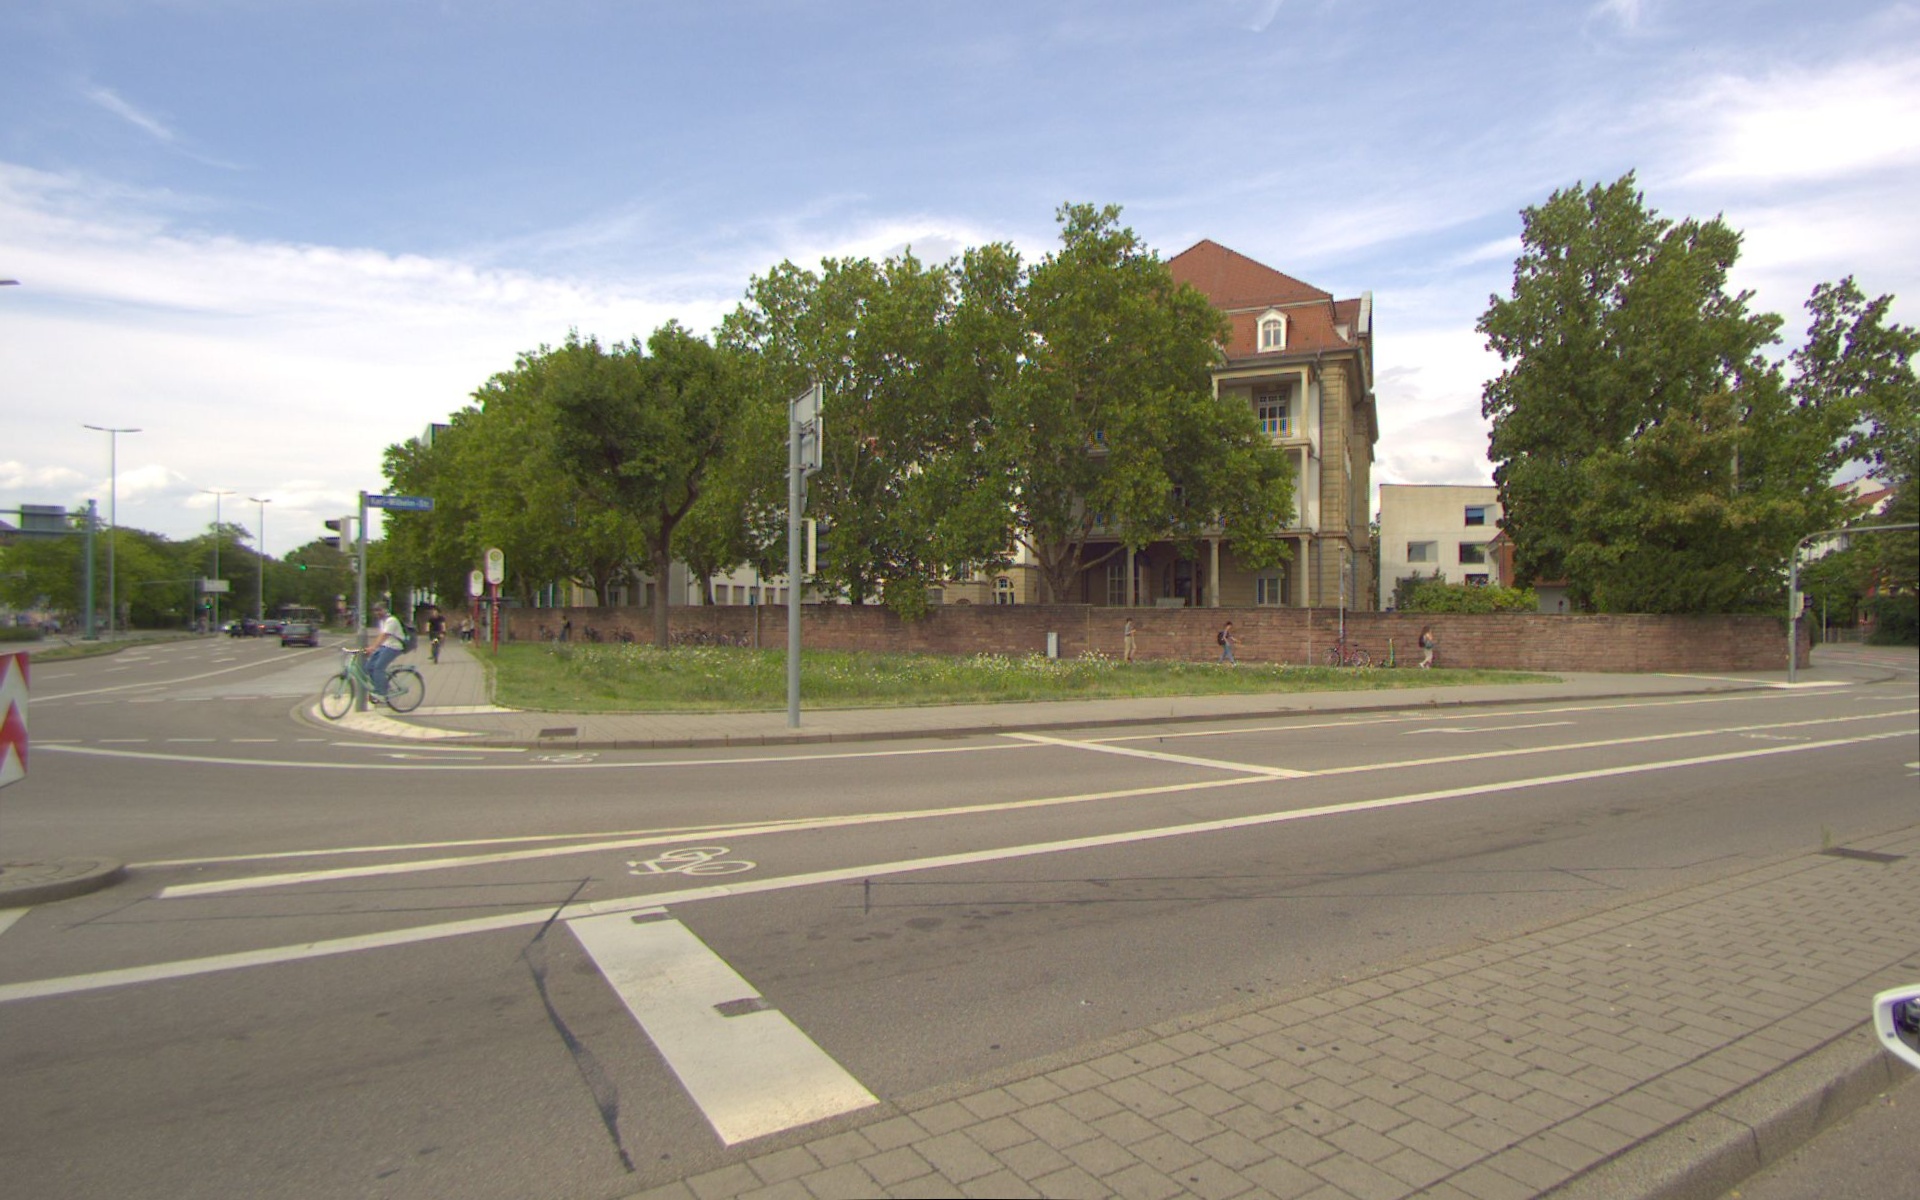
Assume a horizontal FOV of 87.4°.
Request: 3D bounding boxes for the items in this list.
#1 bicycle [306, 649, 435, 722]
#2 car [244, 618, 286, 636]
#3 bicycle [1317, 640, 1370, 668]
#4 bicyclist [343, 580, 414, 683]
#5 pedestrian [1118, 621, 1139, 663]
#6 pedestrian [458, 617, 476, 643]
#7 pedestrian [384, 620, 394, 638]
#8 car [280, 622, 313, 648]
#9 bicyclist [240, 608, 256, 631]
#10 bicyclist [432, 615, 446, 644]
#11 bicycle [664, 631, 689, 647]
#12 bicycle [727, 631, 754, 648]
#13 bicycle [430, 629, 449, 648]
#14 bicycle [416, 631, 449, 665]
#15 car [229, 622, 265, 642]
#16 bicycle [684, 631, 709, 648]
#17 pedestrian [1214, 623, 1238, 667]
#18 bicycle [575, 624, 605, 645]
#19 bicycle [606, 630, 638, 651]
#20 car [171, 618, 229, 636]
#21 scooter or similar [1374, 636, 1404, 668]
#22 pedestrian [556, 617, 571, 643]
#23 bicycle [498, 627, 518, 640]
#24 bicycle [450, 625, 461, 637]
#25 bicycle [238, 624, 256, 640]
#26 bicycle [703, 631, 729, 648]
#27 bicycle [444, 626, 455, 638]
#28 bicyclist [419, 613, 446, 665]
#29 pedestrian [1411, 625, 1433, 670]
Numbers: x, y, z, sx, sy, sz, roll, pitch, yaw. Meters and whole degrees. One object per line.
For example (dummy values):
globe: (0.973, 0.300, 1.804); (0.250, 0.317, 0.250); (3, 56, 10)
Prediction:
bicycle: (-9.243, 1.319, 15.848); (0.496, 0.948, 1.972); (1, 1, 15)
car: (-62.345, 2.412, 90.114); (4.062, 1.509, 1.784); (1, -2, 36)
bicycle: (14.954, 2.109, 39.210); (1.888, 1.018, 0.779); (-1, 0, 17)
bicyclist: (-9.194, 0.477, 15.892); (0.568, 1.576, 0.798); (1, 1, 15)
pedestrian: (6.851, 1.716, 40.916); (0.766, 1.677, 0.577); (-1, 1, 7)
pedestrian: (-31.566, 1.911, 64.319); (0.655, 1.643, 0.751); (-1, 1, 38)
pedestrian: (-51.642, 2.614, 90.830); (0.747, 1.643, 0.659); (-2, 1, -34)
car: (-42.592, 2.231, 64.505); (1.683, 1.500, 4.375); (-2, 0, -34)
bicyclist: (-55.271, 1.506, 78.010); (0.768, 1.733, 1.079); (3, -3, -26)
bicyclist: (-28.533, 1.616, 55.036); (0.486, 1.576, 0.795); (0, 1, -14)
bicycle: (-15.869, 2.184, 56.267); (1.794, 0.875, 0.357); (-1, -3, 39)
bicycle: (-11.652, 2.095, 53.220); (1.681, 0.875, 0.357); (-1, -3, 36)
bicycle: (-28.545, 2.090, 55.096); (0.497, 0.948, 1.965); (0, 1, -15)
bicycle: (-16.556, 1.484, 31.557); (0.497, 0.948, 1.965); (0, 1, -15)
car: (-57.799, 2.606, 81.489); (1.768, 1.509, 4.099); (3, -2, -28)
bicycle: (-14.473, 2.156, 55.103); (1.783, 0.875, 0.357); (-1, -4, 41)
pedestrian: (10.313, 1.749, 38.992); (0.766, 1.677, 0.577); (-1, 1, 2)
bicycle: (-22.755, 2.111, 61.713); (2.067, 1.204, 0.755); (-1, -4, 40)
bicycle: (-19.932, 2.374, 59.206); (2.067, 1.204, 0.755); (-1, -4, 40)
car: (-70.644, 2.494, 93.428); (4.048, 1.509, 1.791); (2, -1, 2)
scooter or similar: (16.642, 2.011, 38.958); (0.513, 1.154, 1.509); (-1, 1, 45)
pedestrian: (-25.162, 1.879, 63.739); (0.743, 1.643, 0.566); (-1, 1, 40)
bicycle: (-31.717, 2.358, 70.426); (1.554, 0.899, 0.658); (-2, 1, 42)
bicycle: (-40.732, 2.504, 81.043); (0.429, 0.899, 1.558); (-3, 1, -39)
bicycle: (-55.261, 2.466, 77.910); (0.749, 1.204, 2.085); (3, -3, -26)
bicycle: (-13.103, 2.128, 53.854); (1.864, 0.875, 0.357); (-1, -4, 43)
bicycle: (-41.916, 2.622, 82.493); (0.429, 0.899, 1.558); (-3, 1, -39)
bicyclist: (-16.553, 1.218, 31.547); (0.570, 1.576, 0.795); (0, 1, -14)
pedestrian: (17.699, 1.806, 38.451); (0.617, 1.677, 0.532); (-1, 1, 9)
